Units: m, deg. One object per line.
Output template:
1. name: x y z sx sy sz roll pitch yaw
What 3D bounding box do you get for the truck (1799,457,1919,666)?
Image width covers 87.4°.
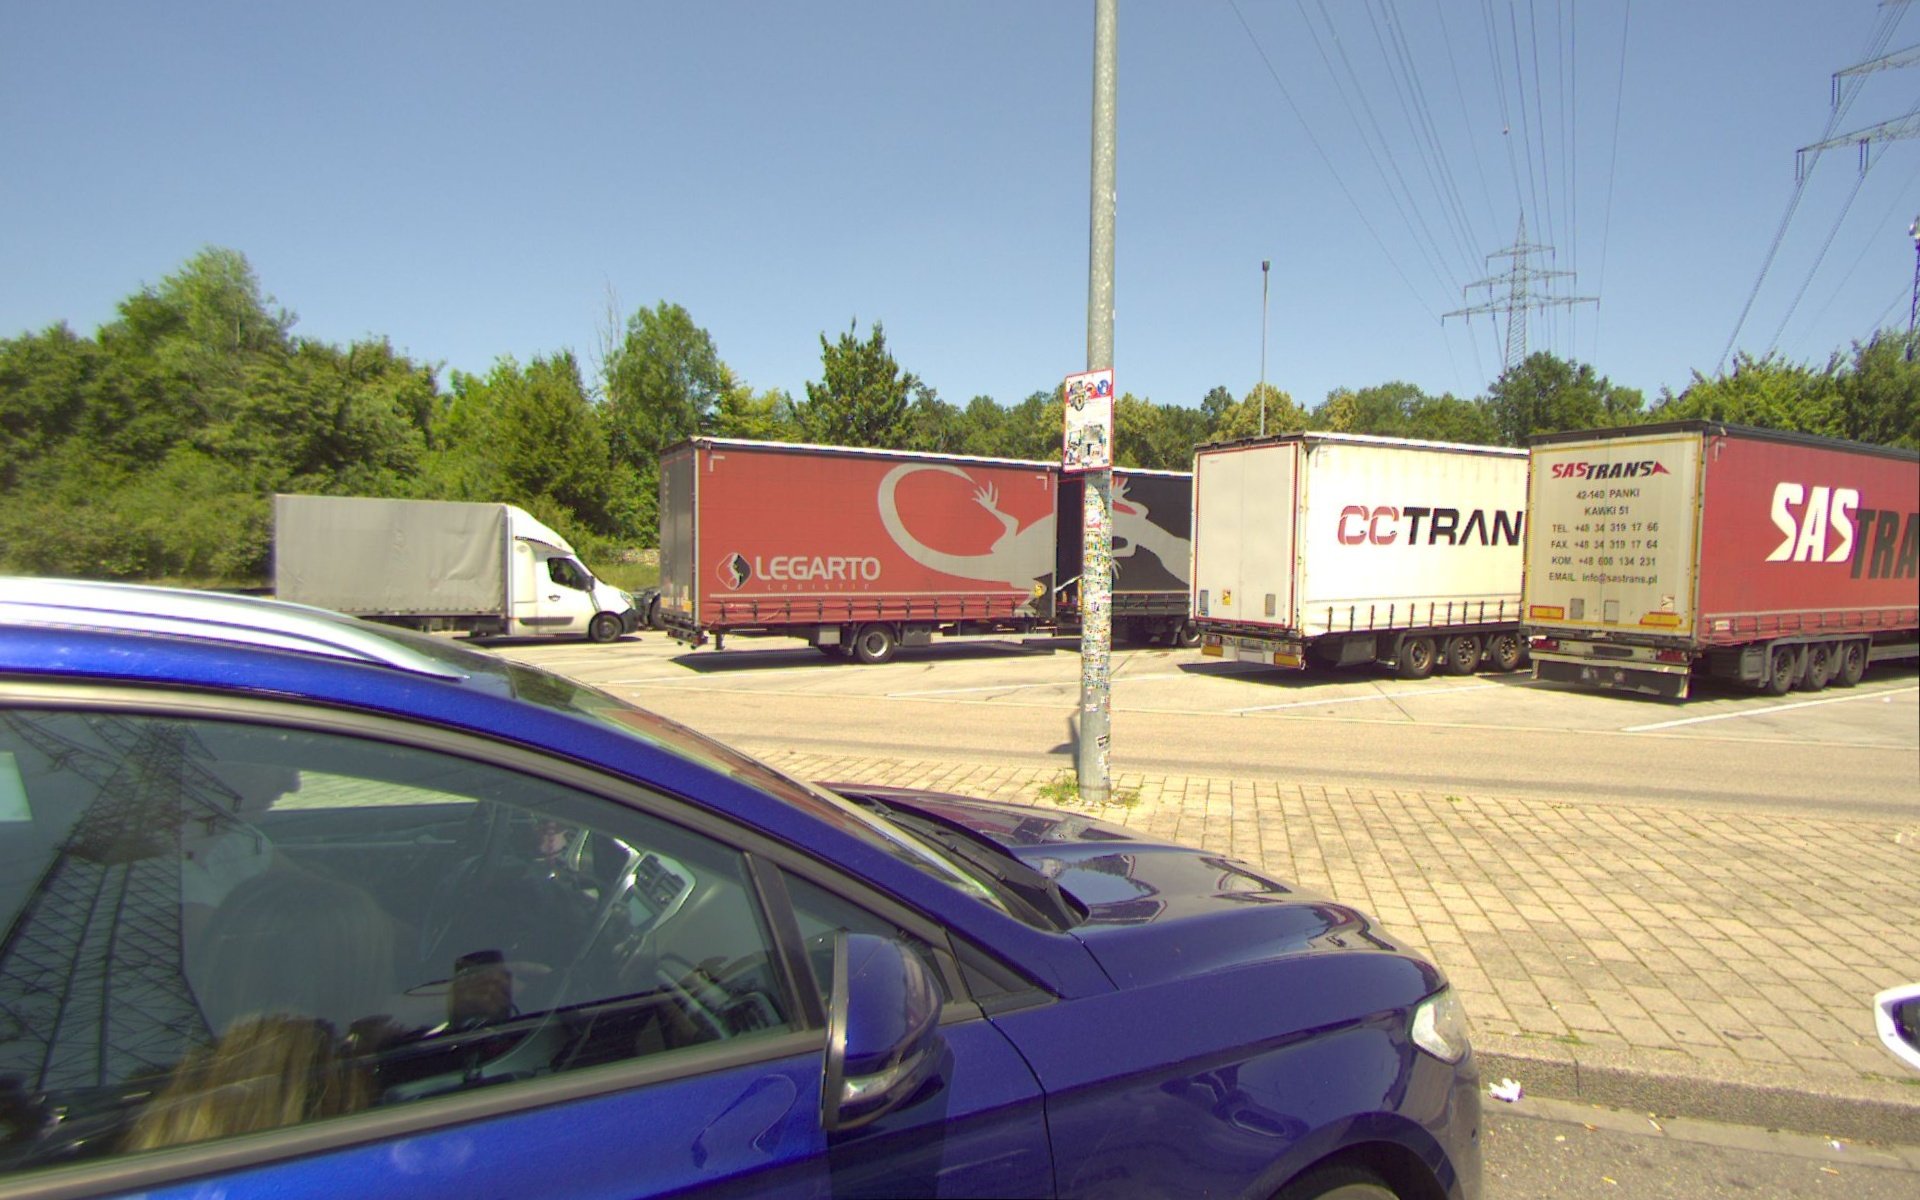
1. truck: 21.440 -0.760 22.063 5.824 4.189 2.792 0 0 -30

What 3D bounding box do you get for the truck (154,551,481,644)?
1. truck: -15.435 -0.039 24.651 6.538 2.040 1.984 0 0 -30

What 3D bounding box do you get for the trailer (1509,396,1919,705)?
1. trailer: 15.256 -0.651 18.430 13.046 4.276 2.786 0 0 -31

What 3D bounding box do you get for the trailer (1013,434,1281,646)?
1. trailer: 4.536 -1.261 24.087 6.076 4.505 2.665 0 1 -30

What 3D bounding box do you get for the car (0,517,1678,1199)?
1. car: -1.009 0.658 1.472 4.362 1.437 1.731 1 0 -30

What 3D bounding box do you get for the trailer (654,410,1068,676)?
1. trailer: -1.821 -0.957 20.261 7.963 4.510 2.648 0 0 -31

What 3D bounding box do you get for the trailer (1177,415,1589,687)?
1. trailer: 8.101 -0.760 18.828 8.189 4.208 2.741 0 1 -30

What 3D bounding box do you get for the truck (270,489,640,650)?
1. truck: -11.166 -0.597 22.761 7.171 3.194 2.160 0 1 -30
